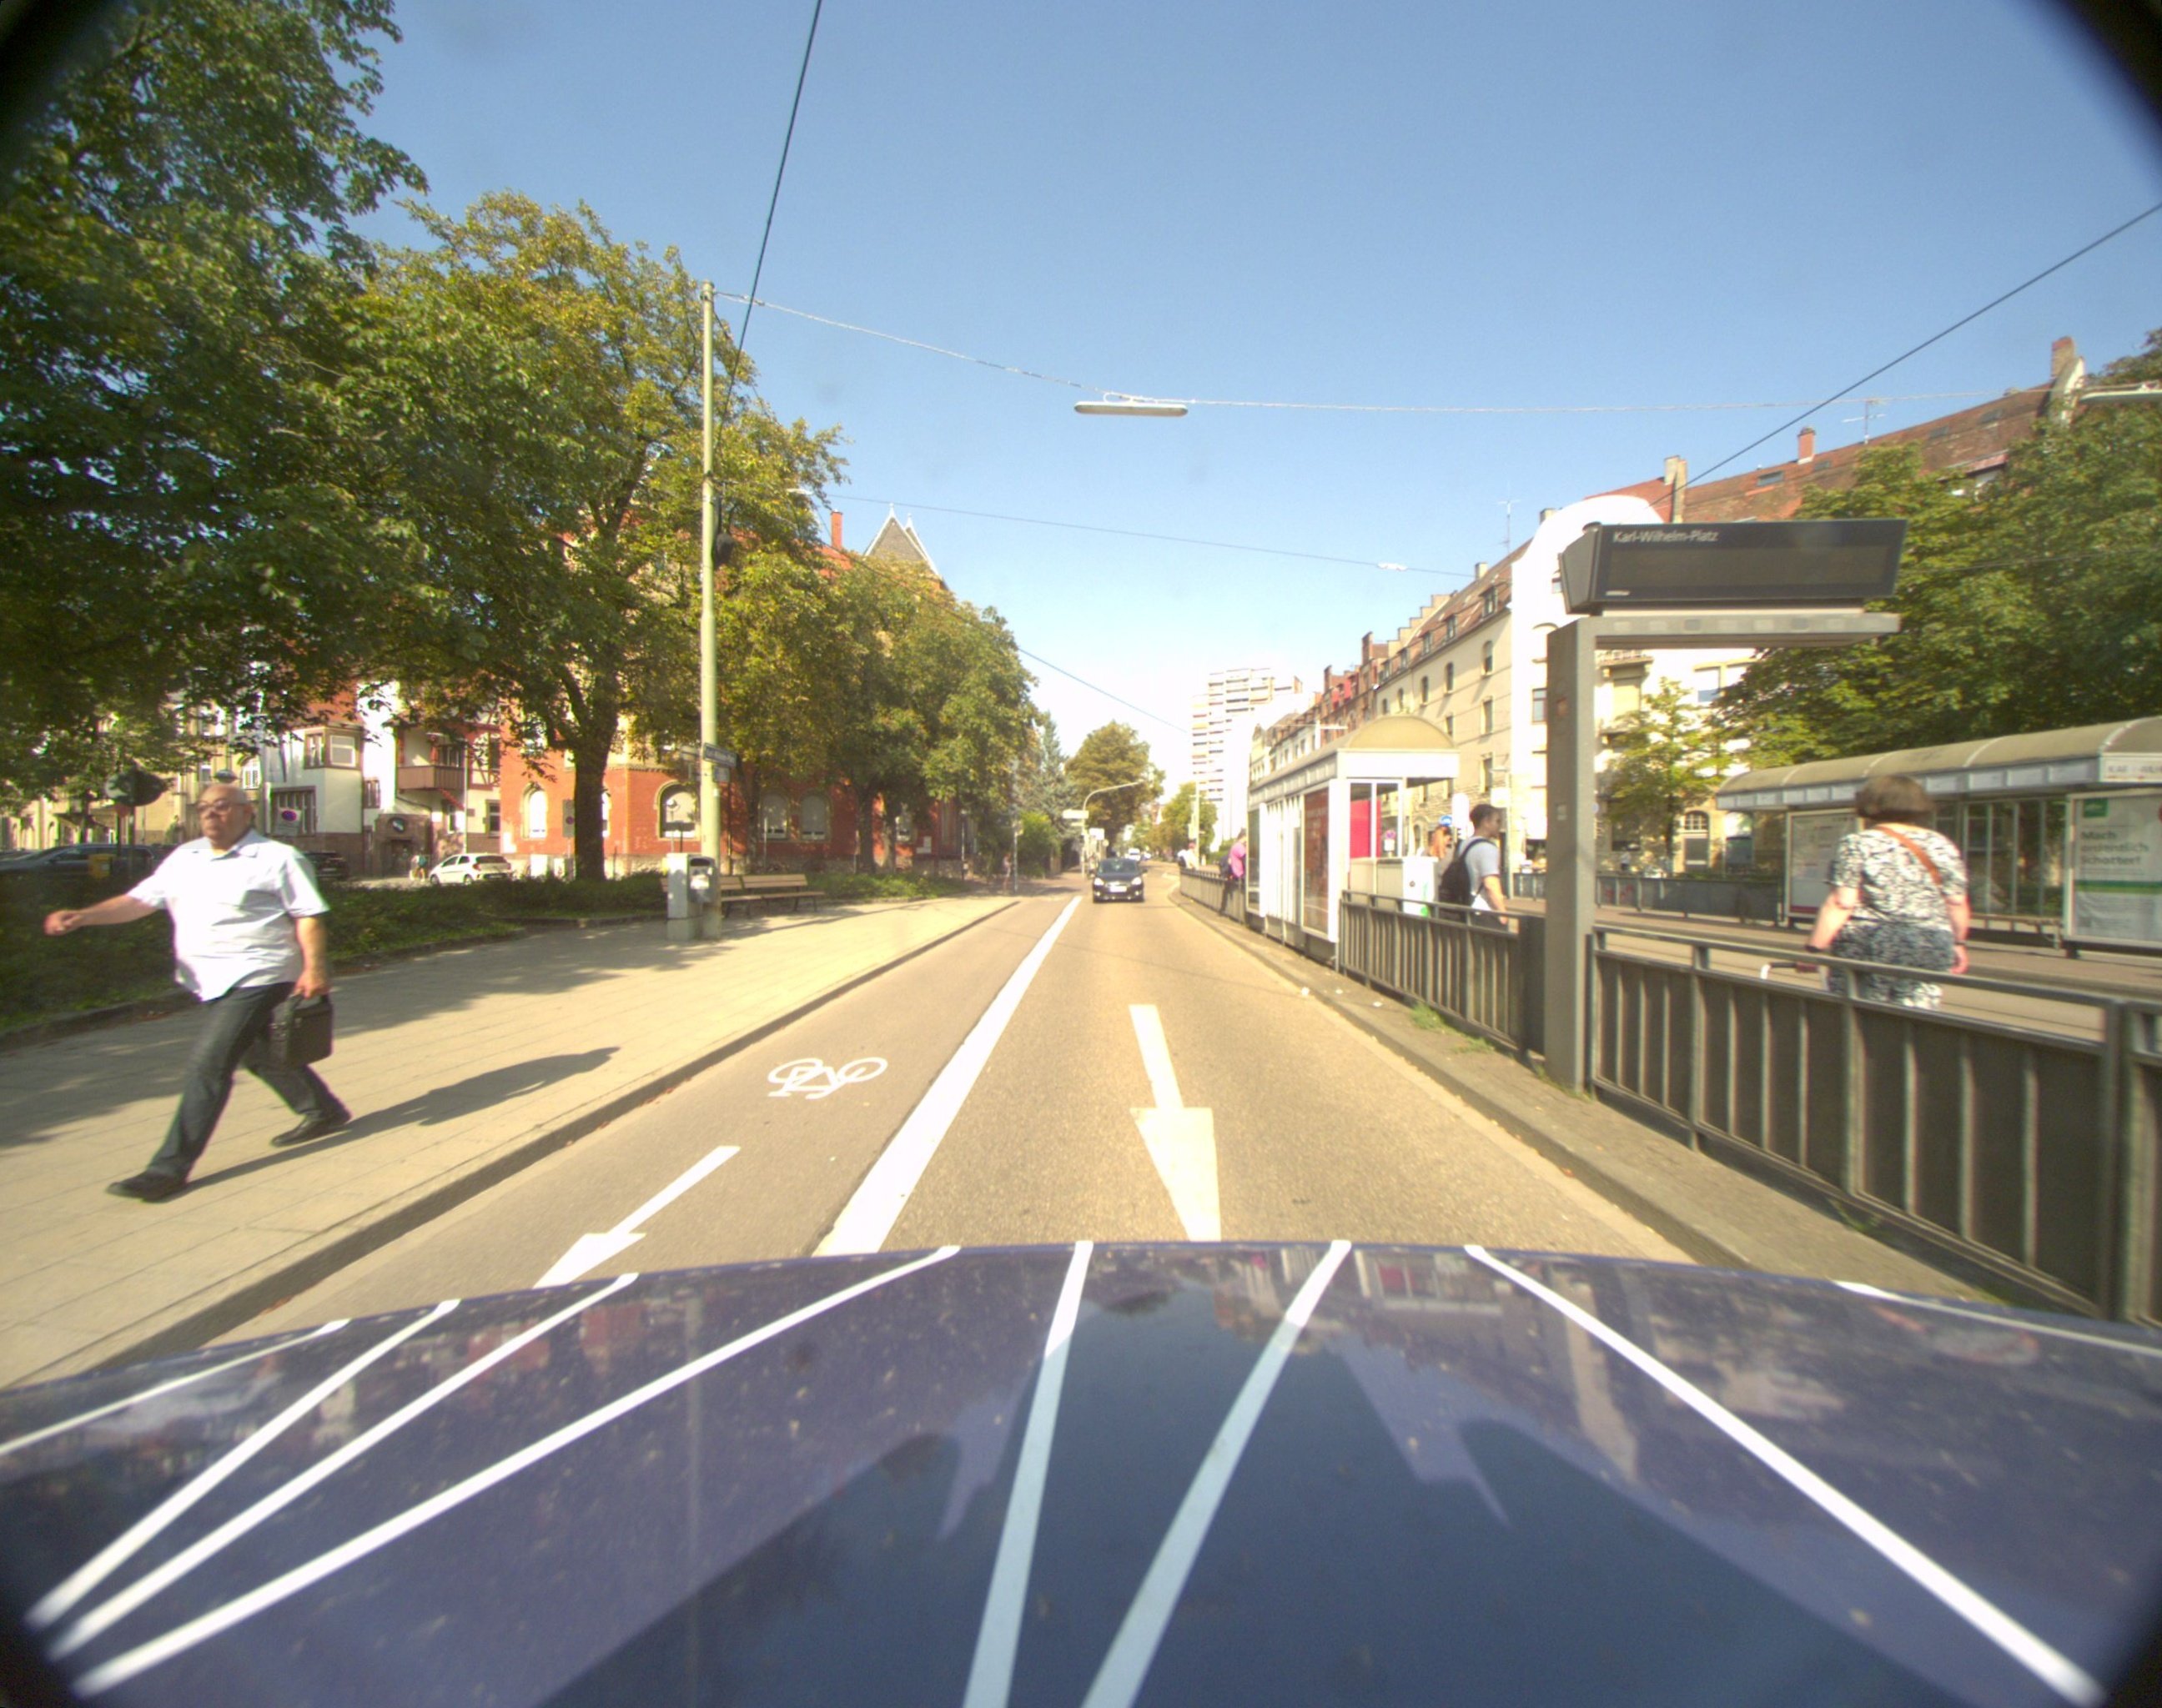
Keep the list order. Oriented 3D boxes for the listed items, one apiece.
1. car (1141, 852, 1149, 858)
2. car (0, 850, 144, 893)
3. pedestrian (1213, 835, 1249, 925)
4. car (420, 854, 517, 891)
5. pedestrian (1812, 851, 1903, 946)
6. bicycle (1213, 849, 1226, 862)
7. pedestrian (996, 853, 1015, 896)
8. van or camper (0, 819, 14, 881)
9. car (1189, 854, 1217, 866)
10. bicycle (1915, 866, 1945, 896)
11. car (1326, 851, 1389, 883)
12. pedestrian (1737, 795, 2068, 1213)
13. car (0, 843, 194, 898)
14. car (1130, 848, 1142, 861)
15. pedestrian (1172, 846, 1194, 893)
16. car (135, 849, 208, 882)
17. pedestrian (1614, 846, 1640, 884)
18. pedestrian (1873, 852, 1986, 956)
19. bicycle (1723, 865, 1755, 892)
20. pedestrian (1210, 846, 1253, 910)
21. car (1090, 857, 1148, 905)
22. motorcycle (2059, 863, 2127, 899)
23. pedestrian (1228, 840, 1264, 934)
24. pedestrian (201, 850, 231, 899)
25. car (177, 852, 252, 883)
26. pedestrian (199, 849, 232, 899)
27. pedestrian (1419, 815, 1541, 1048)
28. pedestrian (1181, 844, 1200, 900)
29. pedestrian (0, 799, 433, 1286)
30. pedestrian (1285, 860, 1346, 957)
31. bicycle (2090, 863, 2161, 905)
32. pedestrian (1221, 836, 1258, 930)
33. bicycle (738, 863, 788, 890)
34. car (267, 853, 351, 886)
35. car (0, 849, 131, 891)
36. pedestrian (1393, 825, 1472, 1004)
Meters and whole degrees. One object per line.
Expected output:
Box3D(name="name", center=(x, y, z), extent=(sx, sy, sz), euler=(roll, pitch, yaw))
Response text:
Box3D(name="car", center=(17.047, 0.233, 203.090), extent=(1.997, 1.640, 4.002), euler=(0, 0, 6))
Box3D(name="car", center=(-37.006, 0.639, 27.048), extent=(1.659, 1.453, 4.203), euler=(0, -3, 17))
Box3D(name="pedestrian", center=(3.125, 0.532, 15.873), extent=(0.638, 1.837, 0.634), euler=(0, 1, 4))
Box3D(name="car", center=(-26.945, 0.782, 33.409), extent=(3.990, 1.558, 1.625), euler=(0, 0, 23))
Box3D(name="pedestrian", center=(12.267, 0.684, 12.027), extent=(0.678, 1.448, 0.718), euler=(0, 1, 3))
Box3D(name="bicycle", center=(19.942, 0.248, 109.348), extent=(1.015, 1.847, 3.554), euler=(-2, 1, -4))
Box3D(name="pedestrian", center=(-3.018, 0.822, 30.585), extent=(0.542, 1.708, 0.662), euler=(0, 1, 17))
Box3D(name="van or camper", center=(-53.143, -0.307, 33.364), extent=(1.995, 2.863, 6.957), euler=(-2, -3, 21))
Box3D(name="car", center=(20.097, 0.950, 125.241), extent=(4.005, 2.002, 1.996), euler=(0, 0, -25))
Box3D(name="bicycle", center=(31.907, 0.991, 28.544), extent=(2.346, 1.073, 0.695), euler=(0, 1, -41))
Box3D(name="car", center=(14.884, 0.656, 41.206), extent=(1.998, 1.641, 4.483), euler=(0, 0, 3))
Box3D(name="pedestrian", center=(3.722, 0.630, 3.514), extent=(0.769, 1.750, 0.680), euler=(0, 1, 0))
Box3D(name="car", center=(-32.227, 0.478, 24.622), extent=(1.659, 1.629, 4.202), euler=(0, 0, 22))
Box3D(name="car", center=(9.785, 0.118, 134.953), extent=(2.086, 2.264, 4.829), euler=(0, 0, 5))
Box3D(name="pedestrian", center=(3.871, 0.589, 28.806), extent=(0.730, 1.759, 0.739), euler=(-2, -2, 5))
Box3D(name="car", center=(-53.416, 0.654, 44.617), extent=(3.990, 1.911, 1.625), euler=(0, 0, 23))
Box3D(name="pedestrian", center=(26.918, 0.555, 37.465), extent=(0.735, 1.857, 0.673), euler=(0, 1, -2))
Box3D(name="pedestrian", center=(12.201, 0.702, 10.948), extent=(0.794, 1.448, 0.718), euler=(0, 1, 2))
Box3D(name="bicycle", center=(28.725, 1.072, 33.168), extent=(2.346, 1.073, 0.695), euler=(-1, 1, -41))
Box3D(name="pedestrian", center=(3.956, 0.609, 20.023), extent=(0.815, 1.645, 0.866), euler=(0, 1, -12))
Box3D(name="car", center=(1.358, 0.849, 25.591), extent=(1.774, 1.459, 4.001), euler=(-1, 0, 5))
Box3D(name="motorcycle", center=(34.385, 0.906, 25.832), extent=(1.885, 1.170, 0.677), euler=(-1, 1, -13))
Box3D(name="pedestrian", center=(3.149, 0.622, 14.520), extent=(0.590, 1.754, 0.607), euler=(0, 1, 4))
Box3D(name="pedestrian", center=(-31.487, 0.735, 27.666), extent=(0.592, 1.754, 0.605), euler=(0, 1, -39))
Box3D(name="car", center=(-48.664, 0.734, 42.669), extent=(3.990, 1.691, 1.625), euler=(0, 0, 23))
Box3D(name="pedestrian", center=(-30.774, 0.711, 27.029), extent=(0.656, 1.754, 0.605), euler=(0, 1, -37))
Box3D(name="pedestrian", center=(3.220, 0.595, 6.190), extent=(0.605, 1.796, 0.730), euler=(0, 1, 1))
Box3D(name="pedestrian", center=(3.541, 0.580, 24.653), extent=(0.560, 1.792, 0.676), euler=(0, 1, 5))
Box3D(name="pedestrian", center=(-3.737, 0.672, 3.220), extent=(1.079, 1.715, 0.969), euler=(3, 1, 1))
Box3D(name="pedestrian", center=(3.381, 0.769, 11.005), extent=(0.709, 1.370, 0.622), euler=(0, 1, 2))
Box3D(name="bicycle", center=(34.677, 0.969, 24.948), extent=(2.303, 1.363, 0.867), euler=(0, 1, -9))
Box3D(name="pedestrian", center=(3.154, 0.567, 15.191), extent=(0.638, 1.837, 0.634), euler=(0, 1, 4))
Box3D(name="bicycle", center=(-13.727, 0.970, 32.848), extent=(0.607, 1.052, 1.843), euler=(-3, -1, 43))
Box3D(name="car", center=(-39.130, 0.754, 38.488), extent=(3.990, 1.558, 1.625), euler=(0, 0, 23))
Box3D(name="car", center=(-38.869, 0.607, 28.247), extent=(1.659, 1.453, 4.029), euler=(0, -3, 17))
Box3D(name="pedestrian", center=(3.555, 0.593, 7.718), extent=(0.553, 1.750, 0.533), euler=(0, 1, 0))
